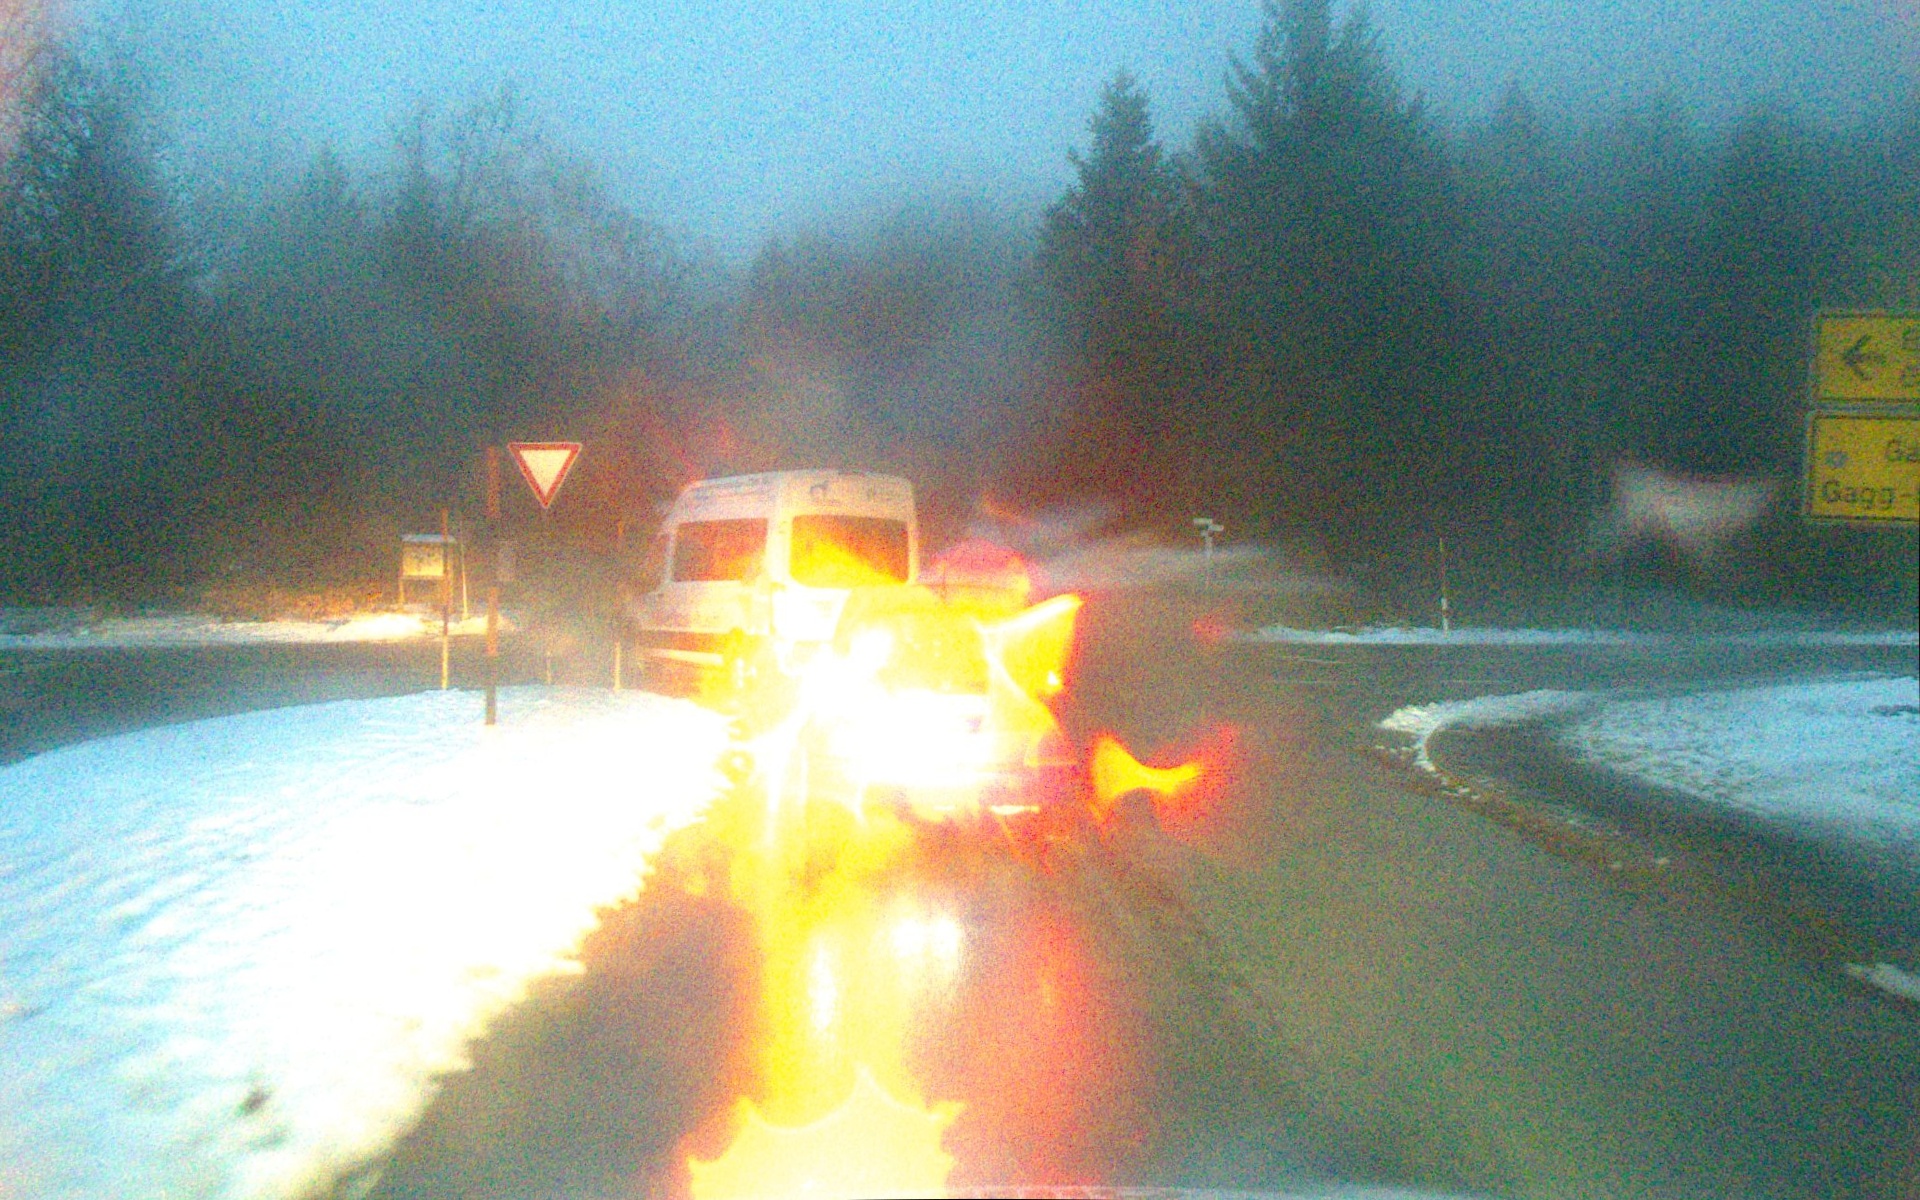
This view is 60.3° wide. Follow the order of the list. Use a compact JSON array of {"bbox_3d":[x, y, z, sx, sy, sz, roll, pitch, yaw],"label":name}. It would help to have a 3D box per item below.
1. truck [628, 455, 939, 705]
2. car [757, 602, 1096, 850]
[{"bbox_3d":[-2.437,-0.218,21.288,2.053,2.794,5.267,2,-1,-29],"label":"truck"},{"bbox_3d":[-0.248,0.713,11.288,1.883,1.299,3.999,1,1,-2],"label":"car"}]
